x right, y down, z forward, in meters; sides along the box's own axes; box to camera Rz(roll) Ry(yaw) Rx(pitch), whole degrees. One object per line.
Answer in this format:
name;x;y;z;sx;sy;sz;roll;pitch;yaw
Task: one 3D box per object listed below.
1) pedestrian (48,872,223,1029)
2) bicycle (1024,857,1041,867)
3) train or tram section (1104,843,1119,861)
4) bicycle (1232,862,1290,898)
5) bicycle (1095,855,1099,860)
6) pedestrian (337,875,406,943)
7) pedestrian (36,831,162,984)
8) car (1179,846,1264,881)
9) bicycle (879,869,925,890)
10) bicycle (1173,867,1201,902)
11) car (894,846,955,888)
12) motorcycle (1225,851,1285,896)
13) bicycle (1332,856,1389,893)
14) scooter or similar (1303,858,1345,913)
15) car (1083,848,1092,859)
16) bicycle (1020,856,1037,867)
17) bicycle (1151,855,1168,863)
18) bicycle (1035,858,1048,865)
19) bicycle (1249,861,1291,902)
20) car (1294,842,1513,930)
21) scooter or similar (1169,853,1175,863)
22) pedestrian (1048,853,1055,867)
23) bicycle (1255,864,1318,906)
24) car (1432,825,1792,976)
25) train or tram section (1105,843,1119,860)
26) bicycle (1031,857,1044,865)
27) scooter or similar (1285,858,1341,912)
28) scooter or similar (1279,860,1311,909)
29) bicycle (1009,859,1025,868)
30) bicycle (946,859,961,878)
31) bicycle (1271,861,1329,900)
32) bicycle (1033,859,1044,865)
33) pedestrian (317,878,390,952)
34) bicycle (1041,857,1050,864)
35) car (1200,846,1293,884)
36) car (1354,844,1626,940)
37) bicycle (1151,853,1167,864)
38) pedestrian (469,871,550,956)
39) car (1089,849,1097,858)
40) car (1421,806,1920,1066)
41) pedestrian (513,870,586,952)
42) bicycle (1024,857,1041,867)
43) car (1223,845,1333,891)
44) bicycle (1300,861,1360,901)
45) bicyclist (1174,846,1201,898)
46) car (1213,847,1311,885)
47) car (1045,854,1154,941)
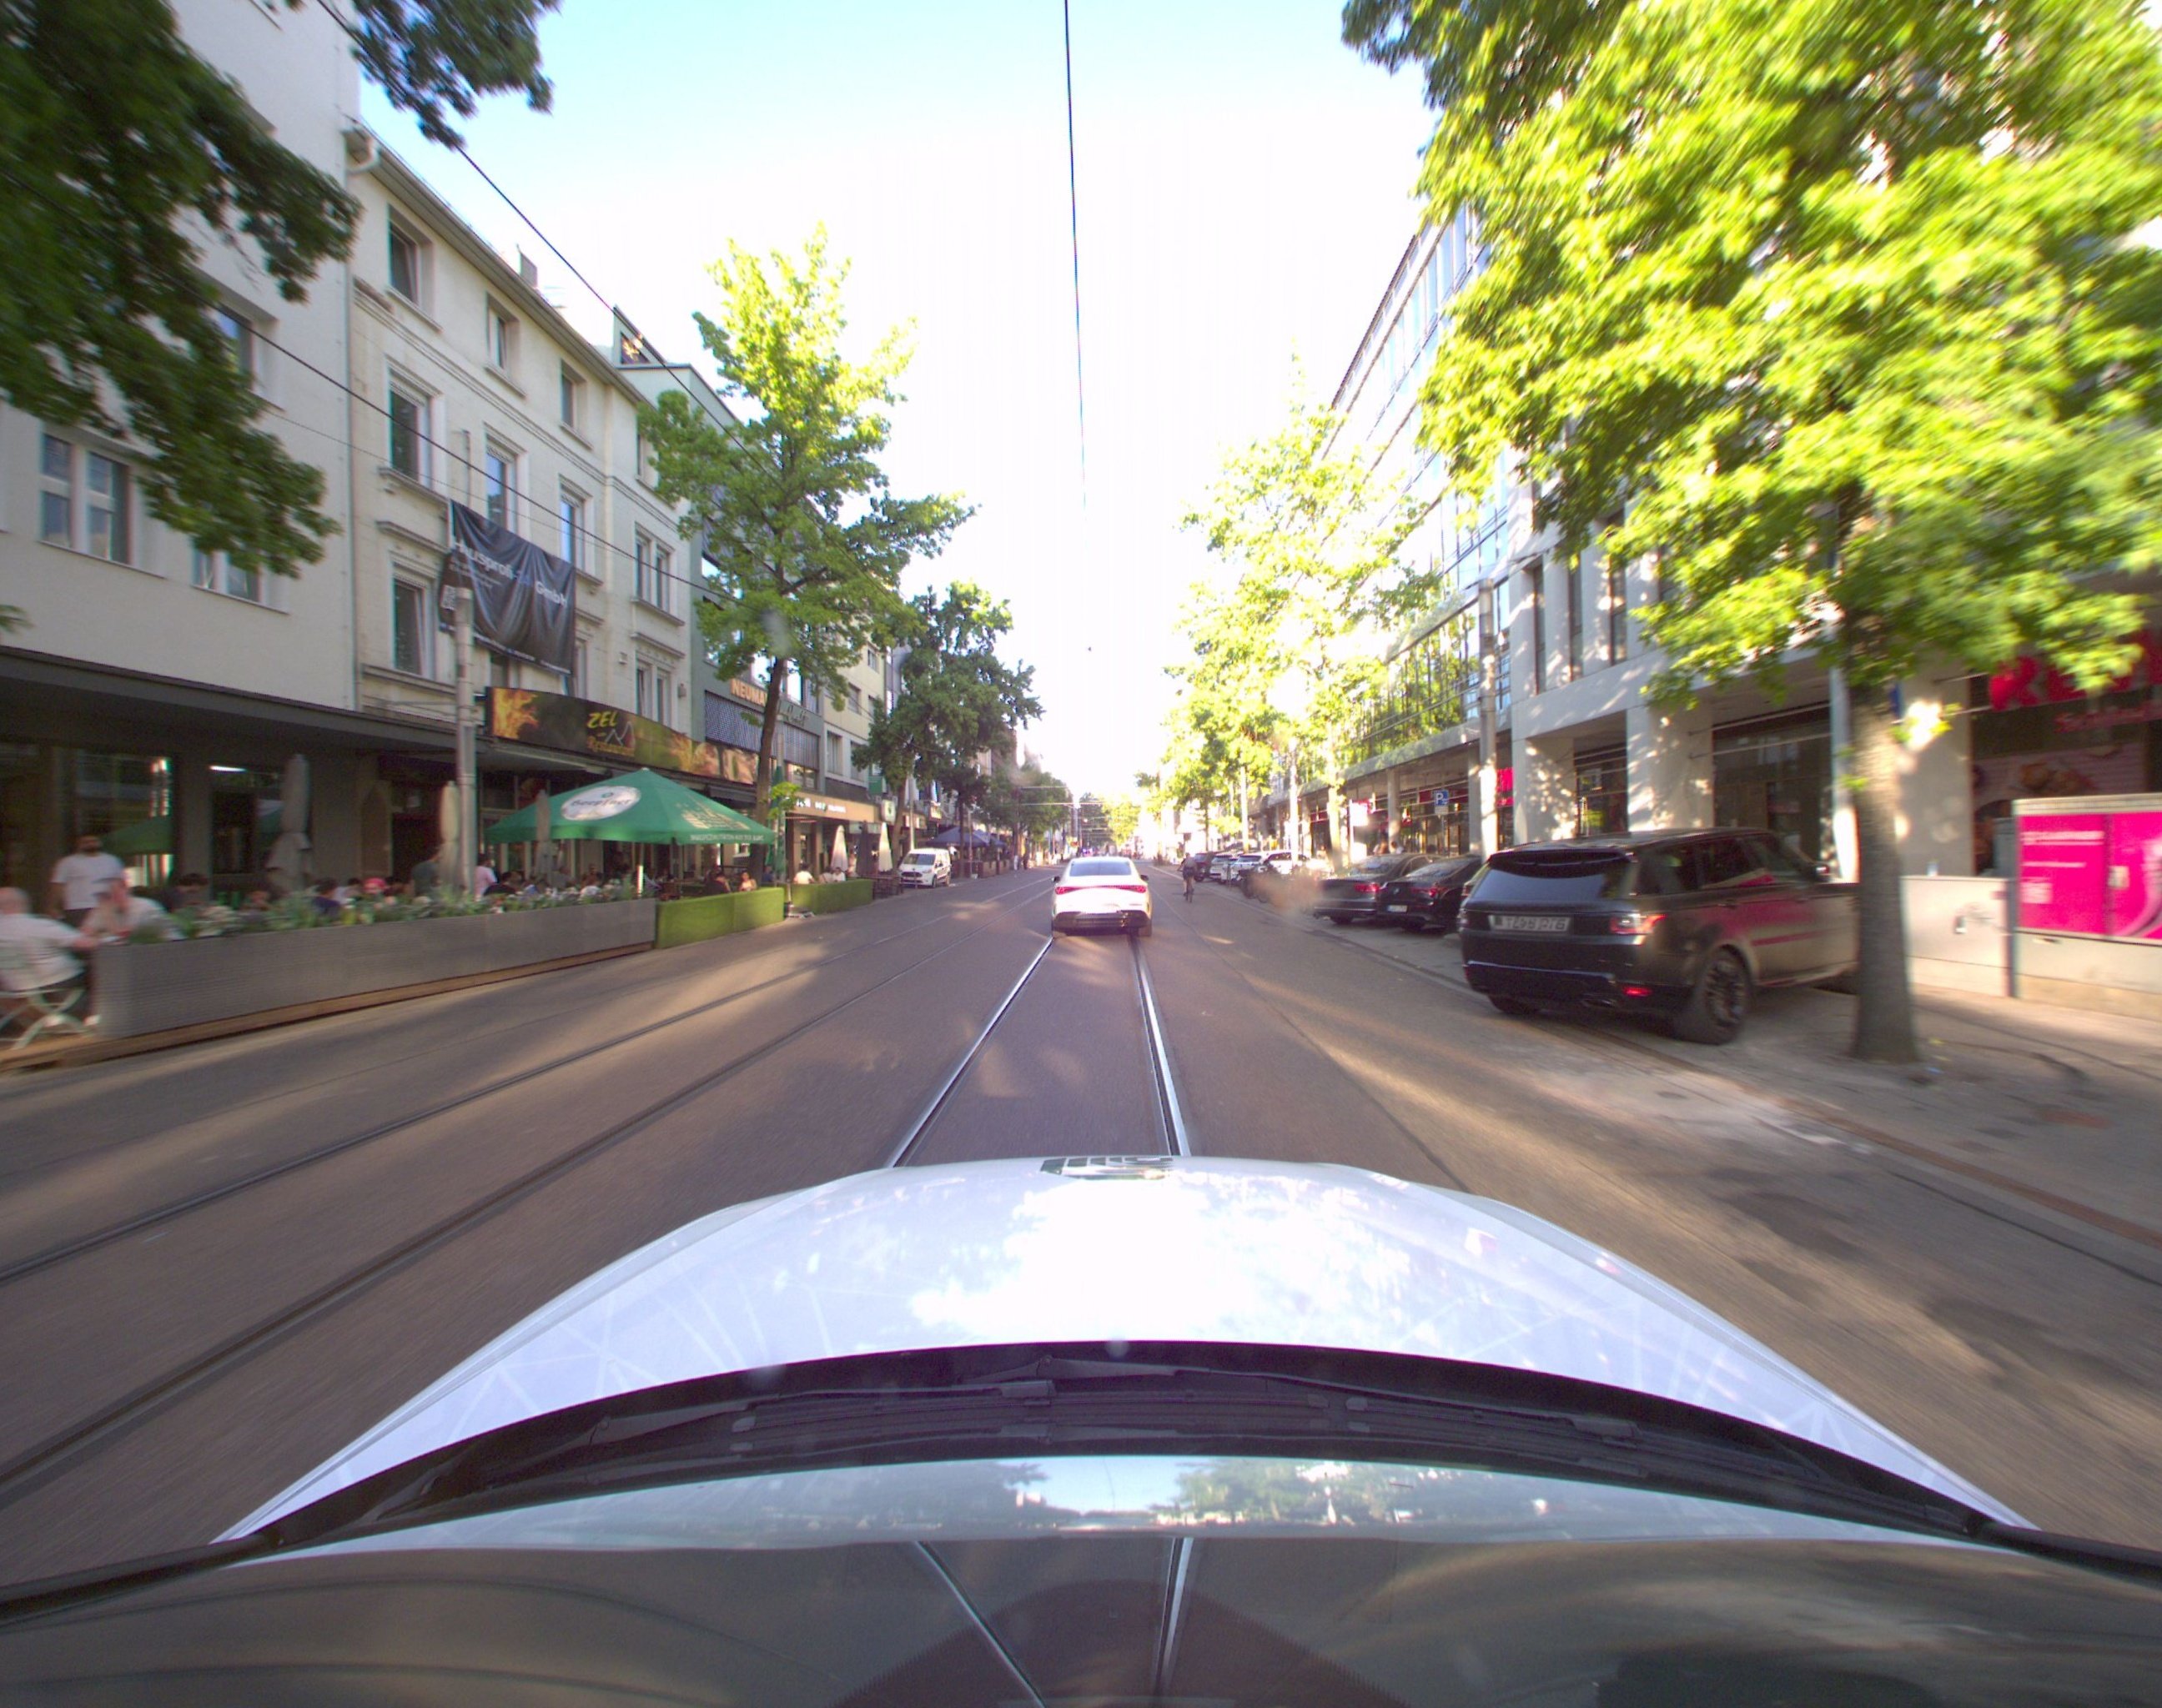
pedestrian;-8.938;0.876;7.733;0.686;1.386;0.807;1;0;3
bicycle;-5.114;0.859;86.081;1.784;1.077;0.377;0;0;-2
train or tram section;6.196;-0.439;164.014;2.684;3.516;12.552;-1;0;2
bicycle;6.239;0.883;28.188;1.901;1.119;0.661;-3;-1;-27
bicycle;3.128;0.690;160.381;0.797;1.142;2.257;1;0;1
pedestrian;-12.679;0.967;14.570;0.599;1.158;0.687;1;0;3
pedestrian;-12.055;0.628;10.012;0.679;1.791;0.763;1;0;17
car;7.674;0.510;44.377;4.369;1.652;1.678;-3;0;-29
bicycle;-7.904;1.119;35.965;0.826;0.865;1.872;1;0;41
bicycle;3.413;0.953;26.078;0.714;0.995;2.065;1;0;11
car;-7.472;0.585;39.387;1.788;1.864;4.557;2;0;3
motorcycle;6.366;0.695;29.722;2.332;1.509;0.849;-3;-1;-42
bicycle;9.358;0.684;27.221;1.780;1.106;0.627;-4;-1;-24
scooter or similar;6.177;0.786;20.653;0.452;1.276;1.315;-5;0;39
car;1.674;-0.165;214.764;1.985;2.897;5.278;-1;0;3
bicycle;-5.762;0.847;90.128;1.838;1.141;0.377;0;0;3
bicycle;10.276;0.662;106.261;2.113;1.096;0.608;-1;-1;-9
bicycle;-4.592;0.907;95.076;1.486;0.783;0.345;0;0;3
bicycle;6.106;0.878;26.241;0.475;1.163;1.705;-5;-1;42
car;7.291;0.643;18.221;5.082;1.469;1.956;-4;0;-34
scooter or similar;10.965;0.475;97.848;0.491;1.277;0.658;-3;0;-9
pedestrian;-3.844;0.748;106.951;0.784;1.801;0.845;-1;0;3
bicycle;6.059;0.895;23.992;1.567;1.088;0.861;-4;2;-28
car;7.651;0.549;11.753;4.670;1.655;1.994;-3;0;-22
train or tram section;6.736;-0.458;176.563;2.684;3.516;12.552;-1;0;2
bicycle;-4.973;0.813;93.616;1.486;0.841;0.345;0;0;3
scooter or similar;6.106;0.808;21.399;1.311;1.276;0.559;-5;0;-30
scooter or similar;5.885;0.820;22.439;0.449;1.276;1.307;-5;0;1
bicycle;-6.560;0.958;83.513;1.586;0.930;0.378;0;0;8
bicycle;-7.919;0.885;50.453;0.699;1.121;2.076;2;0;-15
bicycle;6.977;0.842;25.932;1.697;1.106;0.627;-4;-1;-24
bicycle;-5.410;0.989;103.662;1.486;0.783;0.345;0;0;3
pedestrian;-12.034;1.000;13.491;0.550;1.161;0.687;1;0;3
bicycle;-5.531;1.014;126.650;0.713;1.010;2.048;-1;0;16
car;8.209;0.534;40.399;4.261;1.587;1.866;-3;0;-29
car;7.831;0.653;15.632;4.666;1.426;1.921;-3;0;-19
bicycle;9.909;0.557;103.284;1.908;1.281;0.608;-3;0;-9
pedestrian;-9.241;0.943;13.194;0.686;1.312;0.807;1;0;3
car;3.467;-0.068;233.411;1.902;2.461;5.278;-1;0;3
car;5.801;0.567;7.933;4.678;1.763;1.977;-4;0;-27
pedestrian;-9.171;0.967;14.069;0.704;1.347;0.782;1;0;4
bicycle;-5.108;0.862;86.555;1.784;1.077;0.377;0;0;-2
car;7.989;0.552;32.919;4.174;1.571;1.836;-3;0;-31
bicycle;7.594;0.807;24.817;1.679;1.074;0.726;-4;2;-28
bicyclist;3.393;0.552;25.950;0.772;1.613;0.915;1;0;11
car;8.365;0.535;37.606;4.163;1.499;1.677;-3;0;-22
car;0.397;0.738;15.903;1.850;1.455;4.177;0;0;2
